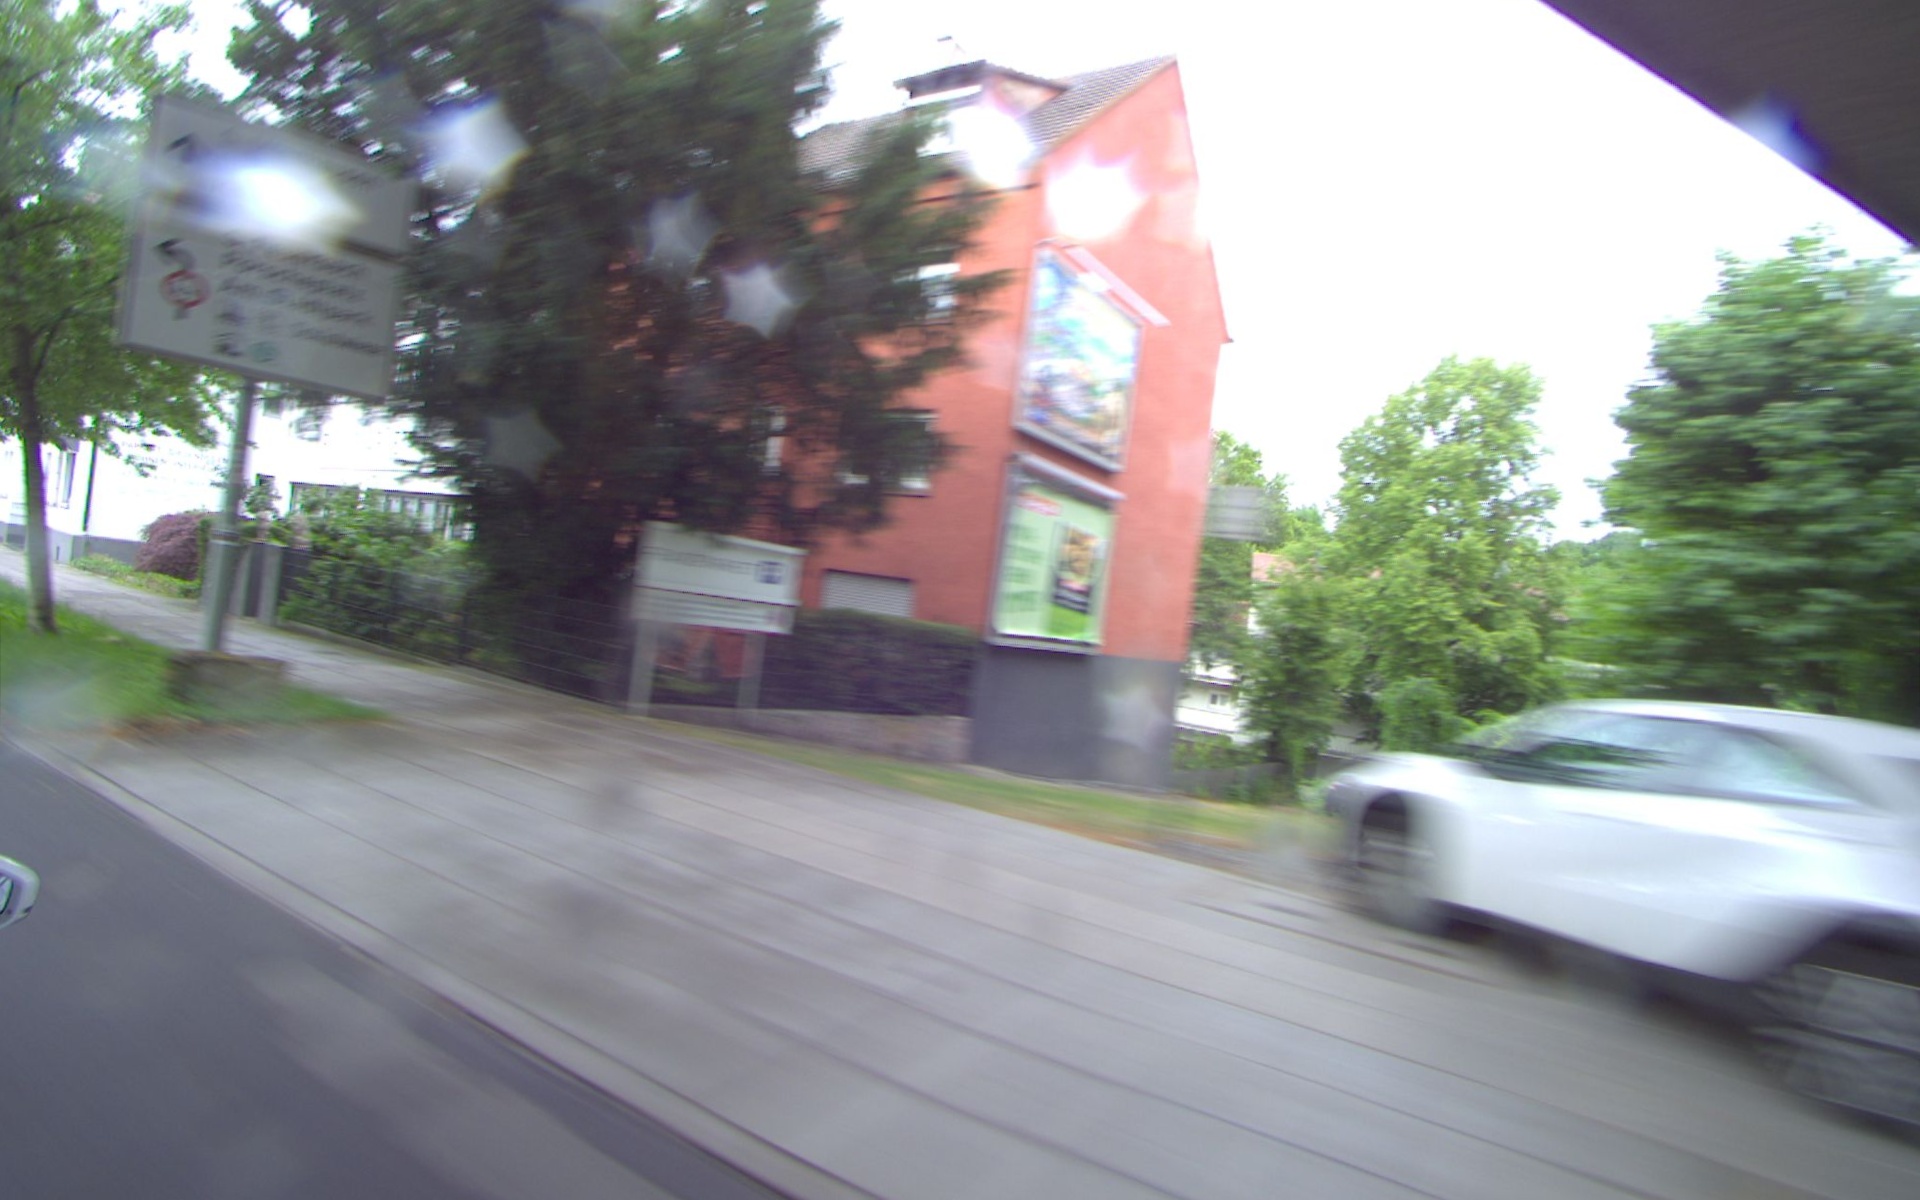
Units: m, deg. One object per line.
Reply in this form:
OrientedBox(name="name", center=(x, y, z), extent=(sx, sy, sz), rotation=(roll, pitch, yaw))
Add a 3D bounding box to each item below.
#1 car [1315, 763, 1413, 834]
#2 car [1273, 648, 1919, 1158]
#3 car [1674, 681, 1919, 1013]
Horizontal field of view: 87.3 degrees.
OrientedBox(name="car", center=(12.097, 5.944, 30.022), extent=(1.684, 1.430, 3.585), rotation=(7, -10, 38))
OrientedBox(name="car", center=(3.654, 1.251, 5.213), extent=(1.779, 1.539, 3.717), rotation=(9, -2, -22))
OrientedBox(name="car", center=(6.372, 1.537, 5.051), extent=(1.942, 1.649, 4.004), rotation=(9, -2, -22))
